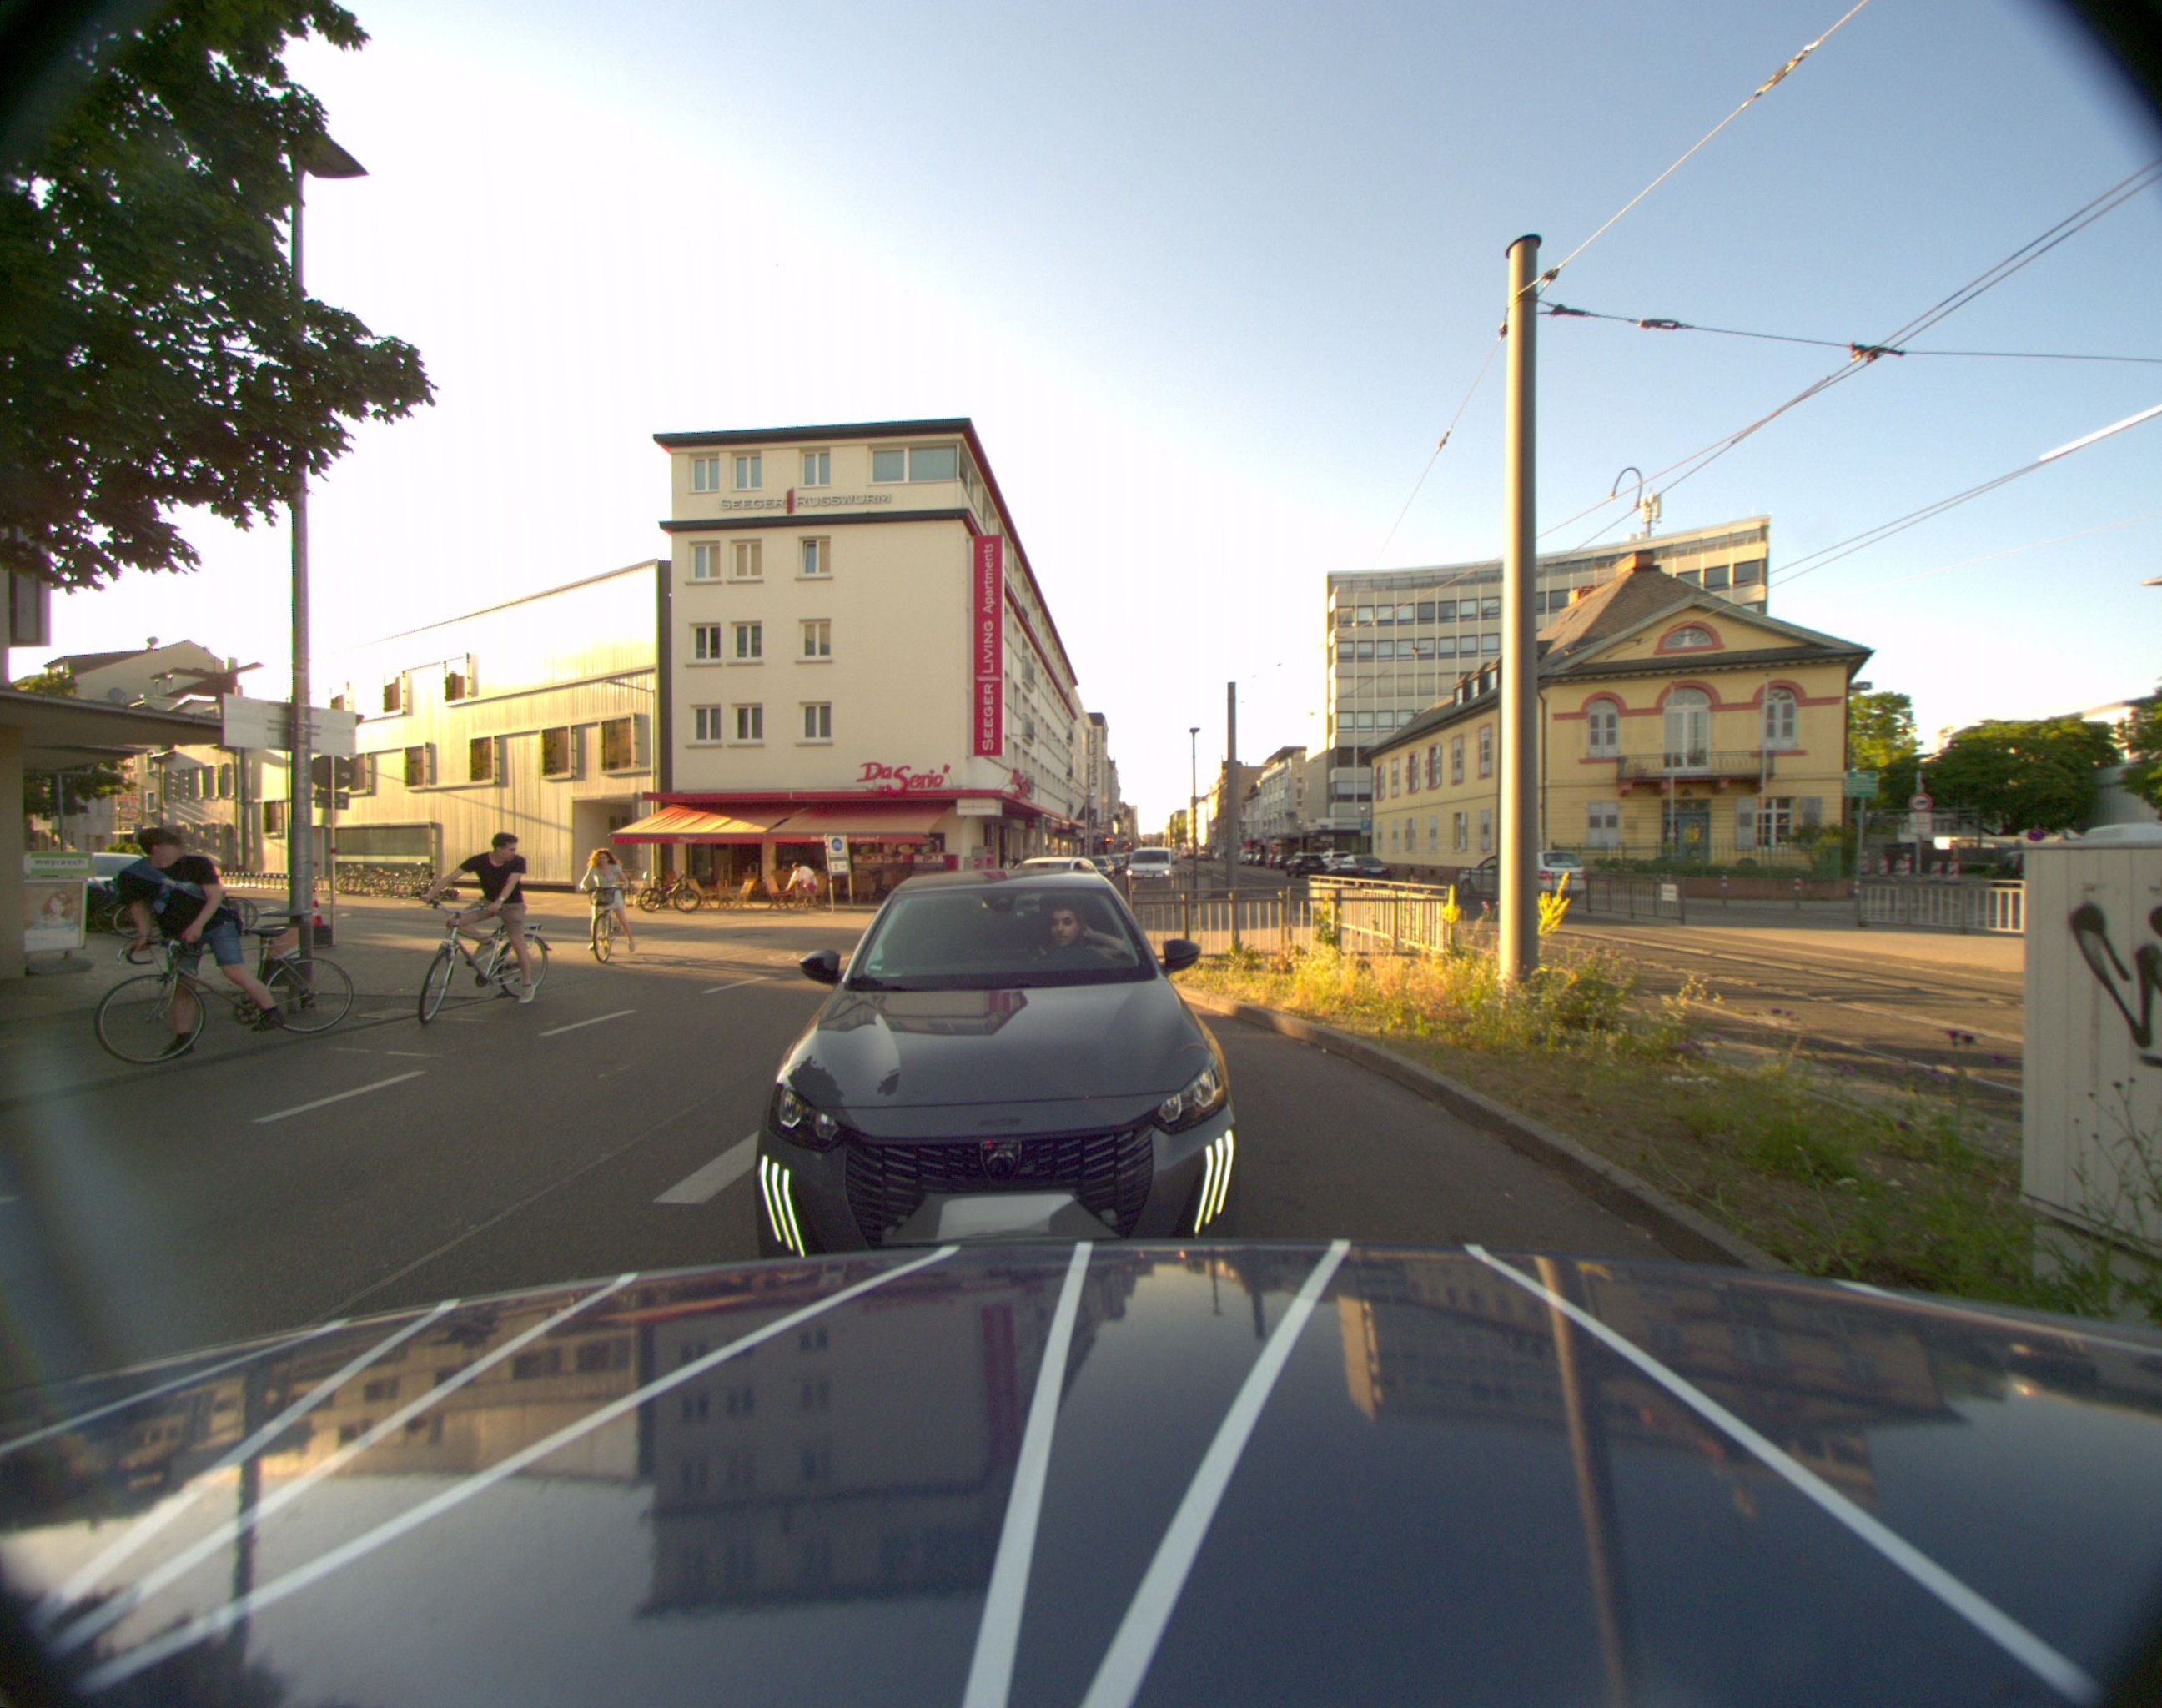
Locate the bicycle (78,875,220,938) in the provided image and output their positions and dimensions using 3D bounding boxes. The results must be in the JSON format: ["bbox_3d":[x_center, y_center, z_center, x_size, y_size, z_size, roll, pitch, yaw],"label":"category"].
[{"bbox_3d":[-18.408,1.009,15.061,0.484,1.179,1.690,0,-2,22],"label":"bicycle"}]

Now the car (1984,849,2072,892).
[{"bbox_3d":[43.099,0.710,34.679,1.713,1.838,4.031,2,1,40],"label":"car"}]

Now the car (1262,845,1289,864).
[{"bbox_3d":[20.546,0.077,80.445,1.998,1.936,4.000,0,0,2],"label":"car"}]

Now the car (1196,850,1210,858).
[{"bbox_3d":[21.856,-0.029,136.383,1.848,1.499,4.000,0,0,1],"label":"car"}]

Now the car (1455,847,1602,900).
[{"bbox_3d":[14.424,0.578,24.805,1.841,1.589,4.067,0,0,-13],"label":"car"}]

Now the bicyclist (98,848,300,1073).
[{"bbox_3d":[-7.128,0.808,6.186,0.665,1.717,0.810,0,1,2],"label":"bicyclist"}]

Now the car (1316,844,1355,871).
[{"bbox_3d":[18.339,0.239,54.973,1.736,1.699,3.804,0,4,4],"label":"car"}]

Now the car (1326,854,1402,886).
[{"bbox_3d":[13.412,0.713,36.308,2.017,1.420,4.656,0,0,1],"label":"car"}]

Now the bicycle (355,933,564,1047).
[{"bbox_3d":[-6.176,1.316,7.707,0.615,0.820,1.805,0,0,1],"label":"bicycle"}]

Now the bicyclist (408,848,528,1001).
[{"bbox_3d":[-6.175,0.676,7.689,0.614,1.478,0.718,0,1,0],"label":"bicyclist"}]

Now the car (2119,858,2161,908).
[{"bbox_3d":[32.897,0.874,22.326,1.729,1.421,4.483,1,1,39],"label":"car"}]

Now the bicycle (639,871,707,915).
[{"bbox_3d":[-11.565,1.101,21.537,1.632,1.160,0.600,0,3,10],"label":"bicycle"}]

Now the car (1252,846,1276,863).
[{"bbox_3d":[21.653,0.051,90.003,1.998,1.936,4.000,0,0,2],"label":"car"}]

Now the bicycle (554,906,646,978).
[{"bbox_3d":[-7.012,1.250,11.159,0.600,0.820,1.737,0,1,-13],"label":"bicycle"}]

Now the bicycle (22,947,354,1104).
[{"bbox_3d":[-7.127,1.315,6.217,0.675,0.896,1.690,0,1,2],"label":"bicycle"}]

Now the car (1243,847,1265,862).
[{"bbox_3d":[22.027,0.027,96.676,1.998,1.936,4.000,0,0,2],"label":"car"}]

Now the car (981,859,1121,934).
[{"bbox_3d":[-0.530,0.860,17.648,1.813,1.440,4.569,0,0,17],"label":"car"}]

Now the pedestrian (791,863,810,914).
[{"bbox_3d":[-8.220,0.999,22.270,0.509,1.441,0.506,0,1,-22],"label":"pedestrian"}]

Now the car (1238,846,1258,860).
[{"bbox_3d":[22.800,-0.137,103.659,1.998,1.936,4.000,0,0,2],"label":"car"}]

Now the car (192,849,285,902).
[{"bbox_3d":[-33.820,0.804,30.489,3.988,2.002,2.004,0,1,35],"label":"car"}]

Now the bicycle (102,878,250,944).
[{"bbox_3d":[-17.297,1.055,14.581,0.538,1.179,1.721,0,-2,22],"label":"bicycle"}]

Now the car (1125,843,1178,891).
[{"bbox_3d":[2.931,0.465,31.093,1.998,1.827,4.878,0,0,6],"label":"car"}]

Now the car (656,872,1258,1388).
[{"bbox_3d":[-0.490,0.932,4.799,1.916,1.495,4.700,0,0,-3],"label":"car"}]

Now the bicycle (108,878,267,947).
[{"bbox_3d":[-16.389,1.033,14.004,0.553,1.179,1.784,0,-2,22],"label":"bicycle"}]

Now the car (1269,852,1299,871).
[{"bbox_3d":[20.100,0.724,75.351,1.998,1.890,4.000,0,0,2],"label":"car"}]

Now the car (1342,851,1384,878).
[{"bbox_3d":[18.543,0.683,50.105,1.736,1.698,3.440,0,0,4],"label":"car"}]

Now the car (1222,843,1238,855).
[{"bbox_3d":[25.327,-0.896,129.273,1.998,2.002,3.999,-2,1,1],"label":"car"}]

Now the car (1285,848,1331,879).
[{"bbox_3d":[14.919,0.597,50.204,1.998,1.979,4.120,0,0,3],"label":"car"}]

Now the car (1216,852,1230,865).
[{"bbox_3d":[25.547,0.795,136.775,1.998,2.363,4.000,0,1,2],"label":"car"}]

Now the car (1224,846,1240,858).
[{"bbox_3d":[24.461,-0.339,123.339,1.998,1.936,4.000,0,0,2],"label":"car"}]

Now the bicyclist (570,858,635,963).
[{"bbox_3d":[-7.001,0.805,11.148,0.589,1.478,0.717,0,1,-13],"label":"bicyclist"}]

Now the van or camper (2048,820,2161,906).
[{"bbox_3d":[36.797,0.307,26.805,2.077,2.758,6.464,1,1,41],"label":"van or camper"}]
